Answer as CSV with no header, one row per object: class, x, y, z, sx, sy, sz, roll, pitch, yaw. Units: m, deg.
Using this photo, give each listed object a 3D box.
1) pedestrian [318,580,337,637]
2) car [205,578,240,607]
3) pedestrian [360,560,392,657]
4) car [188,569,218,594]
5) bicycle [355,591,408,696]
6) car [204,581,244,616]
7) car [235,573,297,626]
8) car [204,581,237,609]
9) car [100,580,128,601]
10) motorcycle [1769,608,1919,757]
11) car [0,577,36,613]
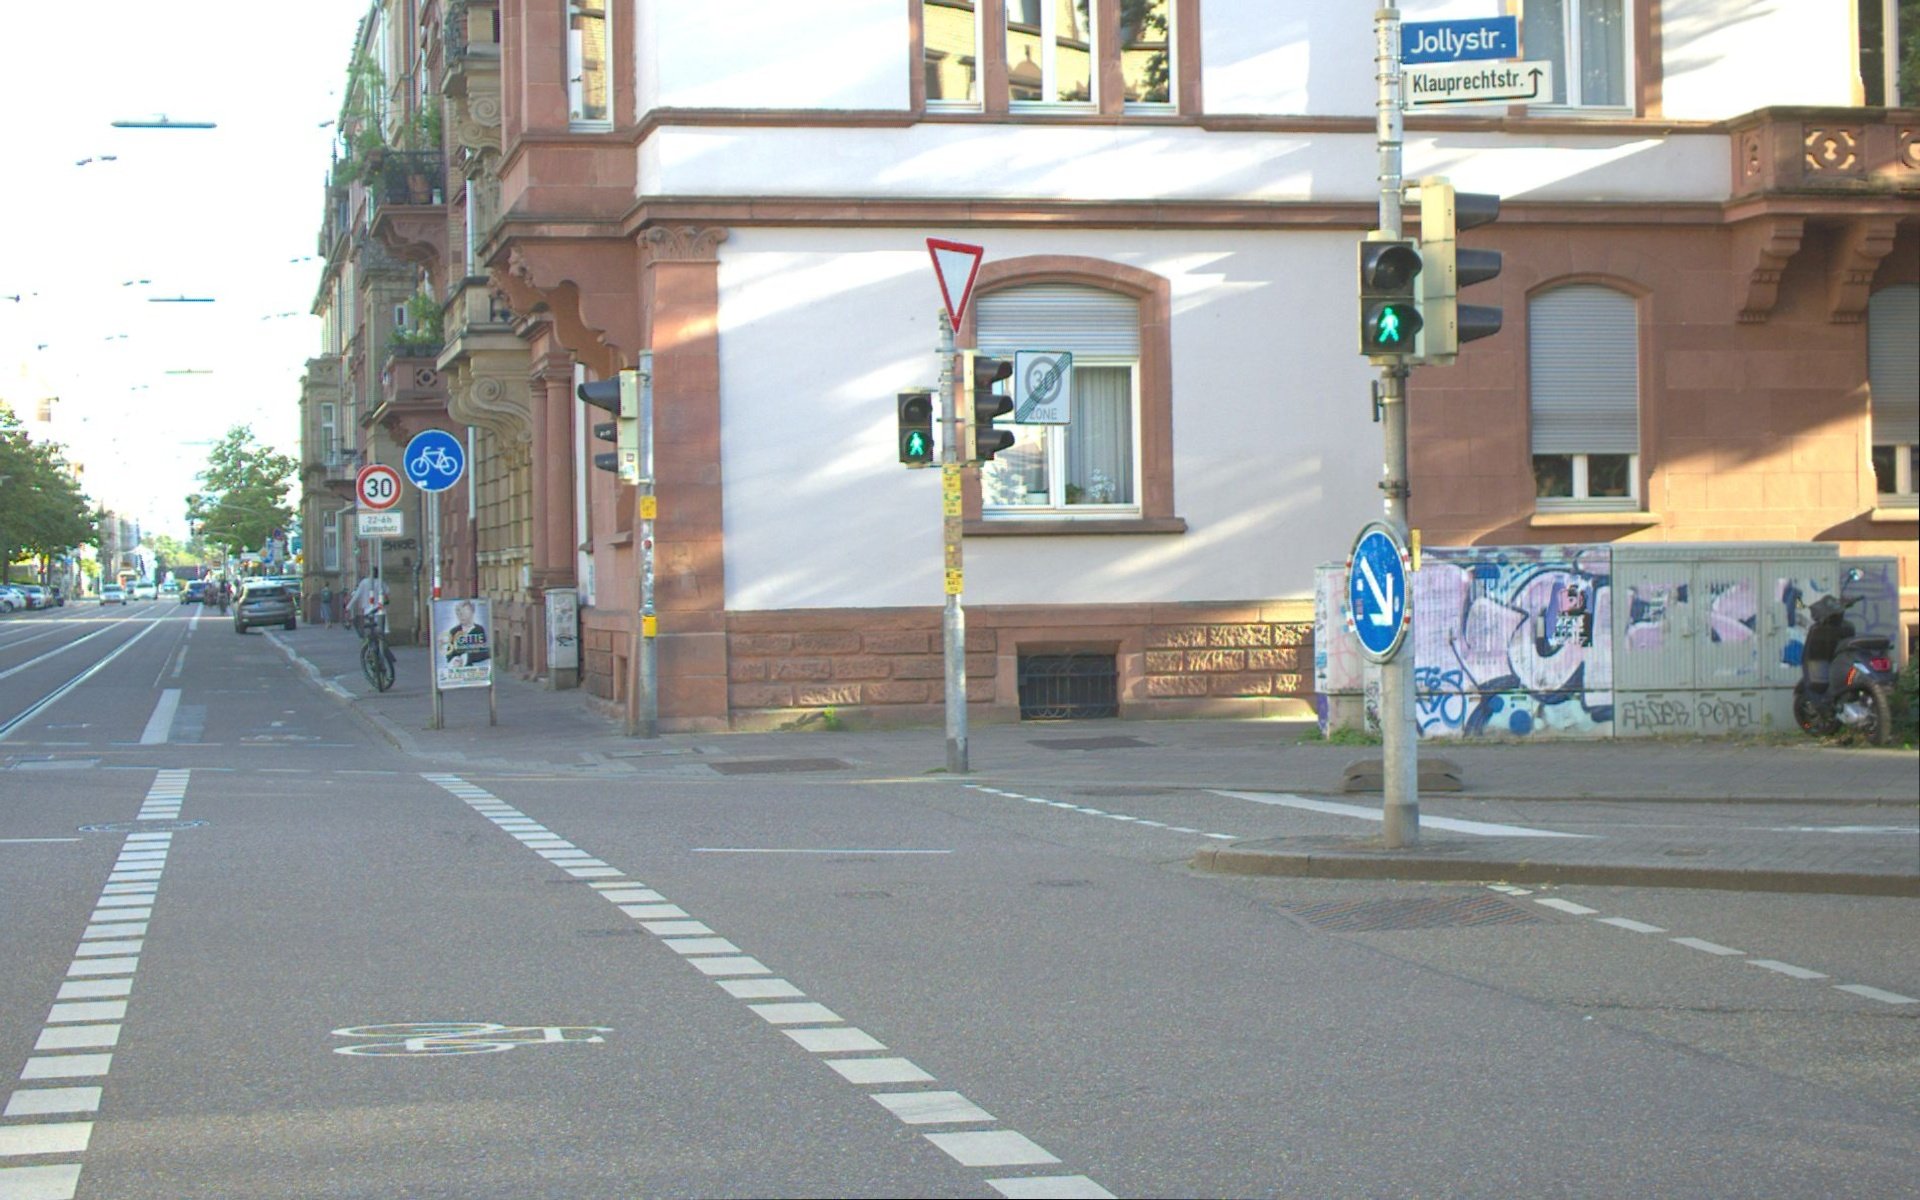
pedestrian,-19.920,0.266,108.250,0.544,1.774,0.749,-1,0,-11
car,-44.042,-0.437,205.178,1.993,1.722,4.001,0,0,-13
pedestrian,-10.783,0.159,63.429,0.544,1.774,0.504,-1,0,-11
car,-53.043,-1.300,240.862,1.993,1.722,4.001,0,0,-13
bicycle,-7.554,0.550,44.888,0.653,1.319,2.177,-1,0,-10
car,-37.683,-0.067,175.936,1.993,1.722,4.001,0,0,-13
car,-22.742,-0.017,112.726,1.949,1.678,4.001,-1,0,-11
car,-46.141,-0.306,214.462,1.993,1.722,4.001,0,0,-13
car,-59.806,-0.646,243.047,1.819,1.437,4.001,0,0,-12
motorcycle,7.059,0.630,27.281,0.719,1.016,2.287,-1,3,0
car,-54.314,-0.276,193.472,3.988,2.007,2.000,-1,0,-37
